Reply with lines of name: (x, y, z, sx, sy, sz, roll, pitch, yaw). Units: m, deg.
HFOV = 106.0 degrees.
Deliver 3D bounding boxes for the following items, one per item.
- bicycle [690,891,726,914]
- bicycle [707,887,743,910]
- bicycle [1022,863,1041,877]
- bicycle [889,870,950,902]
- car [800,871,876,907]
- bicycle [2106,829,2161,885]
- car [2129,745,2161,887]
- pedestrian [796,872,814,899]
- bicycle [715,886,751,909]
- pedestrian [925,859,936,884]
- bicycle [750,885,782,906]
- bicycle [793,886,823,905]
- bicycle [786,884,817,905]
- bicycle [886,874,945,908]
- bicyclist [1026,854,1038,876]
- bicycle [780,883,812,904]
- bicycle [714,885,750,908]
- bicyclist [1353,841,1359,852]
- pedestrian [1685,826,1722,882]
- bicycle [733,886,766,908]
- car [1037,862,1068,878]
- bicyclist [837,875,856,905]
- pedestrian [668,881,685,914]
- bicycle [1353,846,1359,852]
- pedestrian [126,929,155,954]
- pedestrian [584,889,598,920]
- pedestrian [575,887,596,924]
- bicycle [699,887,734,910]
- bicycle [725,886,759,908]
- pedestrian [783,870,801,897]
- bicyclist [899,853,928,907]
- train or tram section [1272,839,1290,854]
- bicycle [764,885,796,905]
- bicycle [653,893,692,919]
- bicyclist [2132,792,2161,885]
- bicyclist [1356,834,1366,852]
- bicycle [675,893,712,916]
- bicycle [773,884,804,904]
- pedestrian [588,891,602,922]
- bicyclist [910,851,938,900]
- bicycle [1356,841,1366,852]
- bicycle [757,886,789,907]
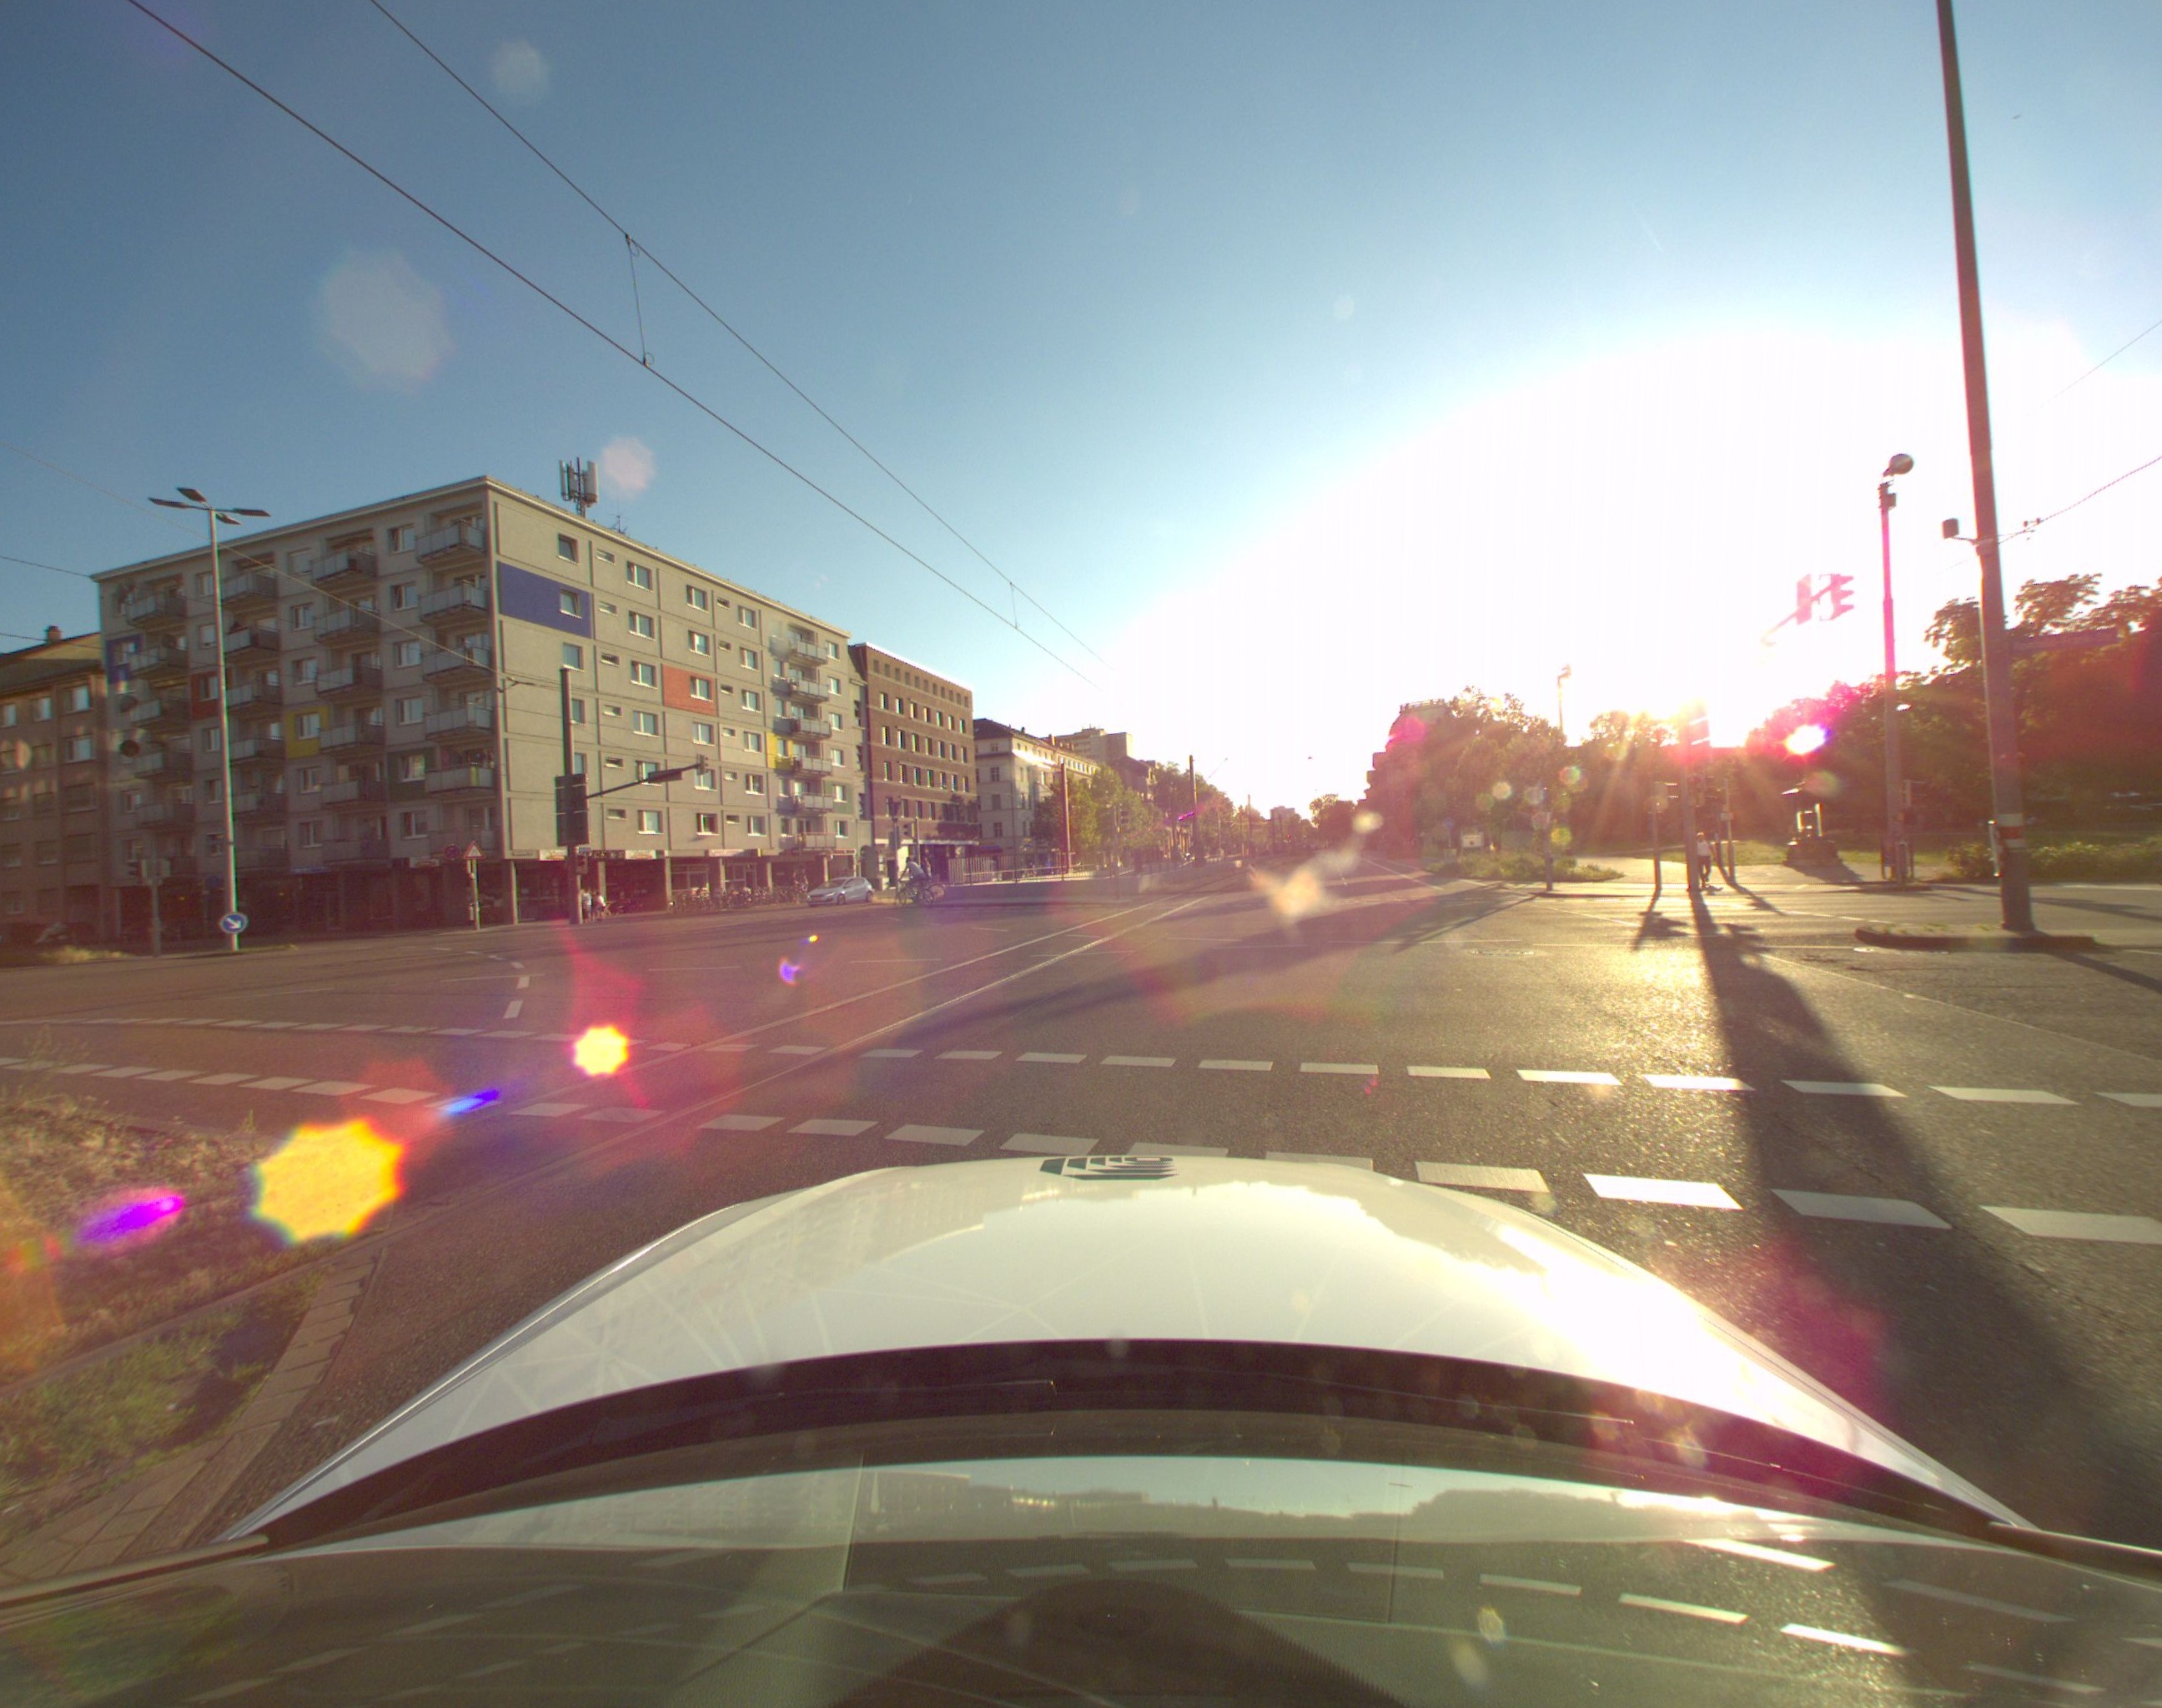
bicycle: (-19.939, 2.606, 43.507, 1.743, 1.139, 0.602, -3, -1, 18)
bicycle: (-19.473, 2.446, 44.540, 1.755, 1.182, 0.571, -3, -1, 17)
bicycle: (-4.705, 1.537, 77.331, 0.806, 1.201, 2.424, -3, 0, 20)
bicycle: (-6.084, 1.207, 30.747, 2.157, 1.083, 0.539, -3, 0, 0)
car: (-12.581, 1.789, 42.352, 1.675, 1.618, 4.019, -4, 0, 18)
bicycle: (23.901, 0.037, 17.649, 1.950, 1.176, 0.738, -3, 0, 22)
car: (24.773, -0.929, 14.787, 6.953, 2.827, 2.103, -3, 0, 19)
pedestrian: (-19.091, 2.168, 56.317, 0.781, 1.841, 0.736, -3, -1, 9)
bicycle: (-19.307, 2.420, 45.176, 1.775, 1.191, 0.654, -3, -1, 16)
pedestrian: (-13.495, 1.560, 72.930, 0.597, 2.178, 0.795, -3, -1, 17)
bicycle: (-18.481, 2.433, 47.732, 1.740, 1.117, 0.554, -3, -1, 18)
bicycle: (-17.383, 2.637, 51.792, 1.676, 1.144, 0.700, -3, -1, 19)
bicycle: (-17.541, 2.537, 51.069, 1.676, 1.170, 0.752, -3, -1, 19)
bicycle: (-5.811, 1.299, 28.700, 1.894, 1.075, 0.632, -3, -1, 1)
bicyclist: (-4.656, 1.046, 77.514, 0.790, 2.013, 0.928, -3, -1, 19)
bicycle: (-17.596, 2.448, 50.264, 1.676, 1.179, 0.752, -3, -1, 19)
bicycle: (-19.737, 2.412, 46.073, 1.816, 1.160, 0.643, -3, -1, 17)
bicyclist: (52.074, -1.356, 154.091, 0.918, 2.013, 0.854, -3, -1, 17)
pedestrian: (20.848, 0.006, 27.299, 0.824, 1.803, 0.816, -3, -1, 32)
bicycle: (-19.269, 2.499, 47.352, 1.757, 1.136, 0.608, -3, -1, 17)
car: (-2.995, 1.689, 87.065, 1.804, 1.420, 4.021, -3, 0, 21)
bicyclist: (-14.247, 2.179, 49.426, 0.695, 1.742, 0.796, -3, -1, 28)
pedestrian: (-21.667, 2.323, 43.628, 0.578, 1.684, 0.546, -3, -1, -4)
bicycle: (52.105, -1.016, 154.102, 0.917, 1.111, 2.343, -3, 0, 17)
pedestrian: (-51.855, 4.803, 44.921, 0.785, 1.256, 0.715, -5, -1, 14)
pedestrian: (-23.238, 2.386, 38.609, 0.377, 1.448, 0.393, -3, -1, -10)
pedestrian: (-22.798, 2.348, 37.466, 0.572, 1.620, 0.601, -3, 0, -14)
bicycle: (-19.666, 2.387, 43.973, 1.752, 1.167, 0.543, -3, -1, 17)
bicycle: (-19.421, 2.487, 46.717, 1.762, 1.159, 0.608, -3, -1, 17)
pedestrian: (-20.060, 2.063, 56.535, 0.822, 1.812, 0.722, -4, 0, 7)
bicyclist: (-5.880, 0.912, 28.688, 0.790, 1.818, 0.646, -3, -1, -1)
train or tram section: (52.877, -1.978, 215.242, 4.356, 3.850, 11.451, -3, 0, 13)
bicycle: (-18.063, 2.465, 48.900, 1.713, 1.124, 0.637, -3, -1, 19)
bicycle: (-21.168, 2.694, 42.193, 1.780, 1.208, 0.641, -3, -1, 16)
bicyclist: (23.806, -0.361, 17.683, 0.891, 2.013, 0.726, -3, -1, 22)
bicyclist: (36.987, -1.425, 107.566, 1.074, 2.276, 0.990, -3, 0, 17)
bicycle: (-20.487, 2.666, 43.007, 1.762, 1.142, 0.611, -3, -1, 17)
bicycle: (-17.806, 2.442, 49.549, 1.676, 1.153, 0.709, -3, -1, 19)
pedestrian: (-22.766, 2.462, 38.155, 0.381, 1.383, 0.394, -3, -1, -11)
bicyclist: (-5.918, 0.802, 30.753, 0.873, 1.818, 0.538, -3, -1, 0)
bicycle: (37.017, -0.958, 107.551, 1.089, 1.399, 2.844, -3, 0, 17)
bicycle: (-18.278, 2.511, 48.286, 1.746, 1.119, 0.571, -3, -1, 17)
